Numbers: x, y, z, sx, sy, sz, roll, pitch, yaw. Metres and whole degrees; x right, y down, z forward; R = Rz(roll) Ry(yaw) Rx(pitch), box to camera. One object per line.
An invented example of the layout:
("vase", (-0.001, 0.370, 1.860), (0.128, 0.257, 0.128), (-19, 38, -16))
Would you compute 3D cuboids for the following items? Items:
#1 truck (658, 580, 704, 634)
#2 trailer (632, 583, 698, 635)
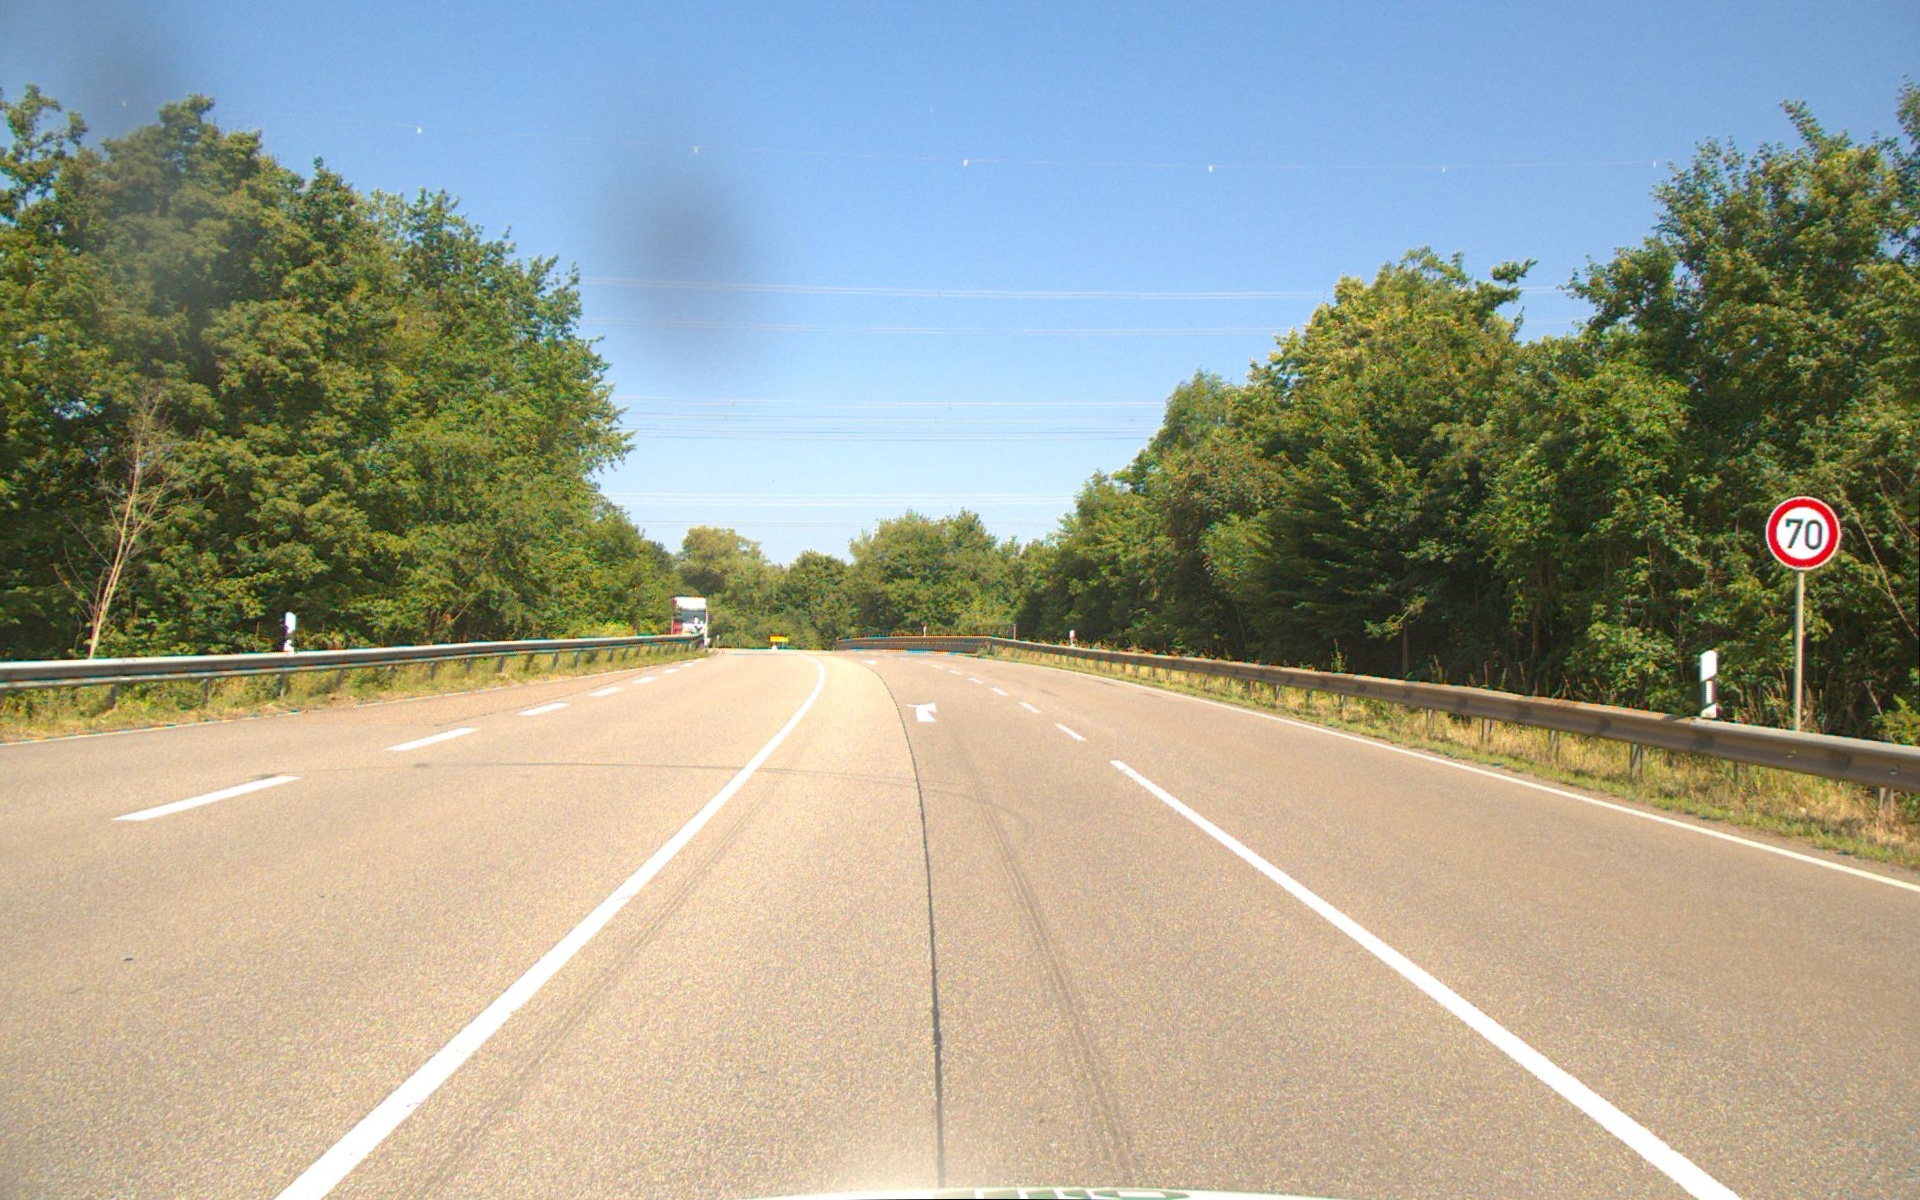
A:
("truck", (-22.671, 0.606, 134.222), (2.727, 4.105, 5.821), (1, -2, -19))
("trailer", (-25.272, 0.866, 141.043), (2.730, 4.134, 14.103), (1, -2, -22))
